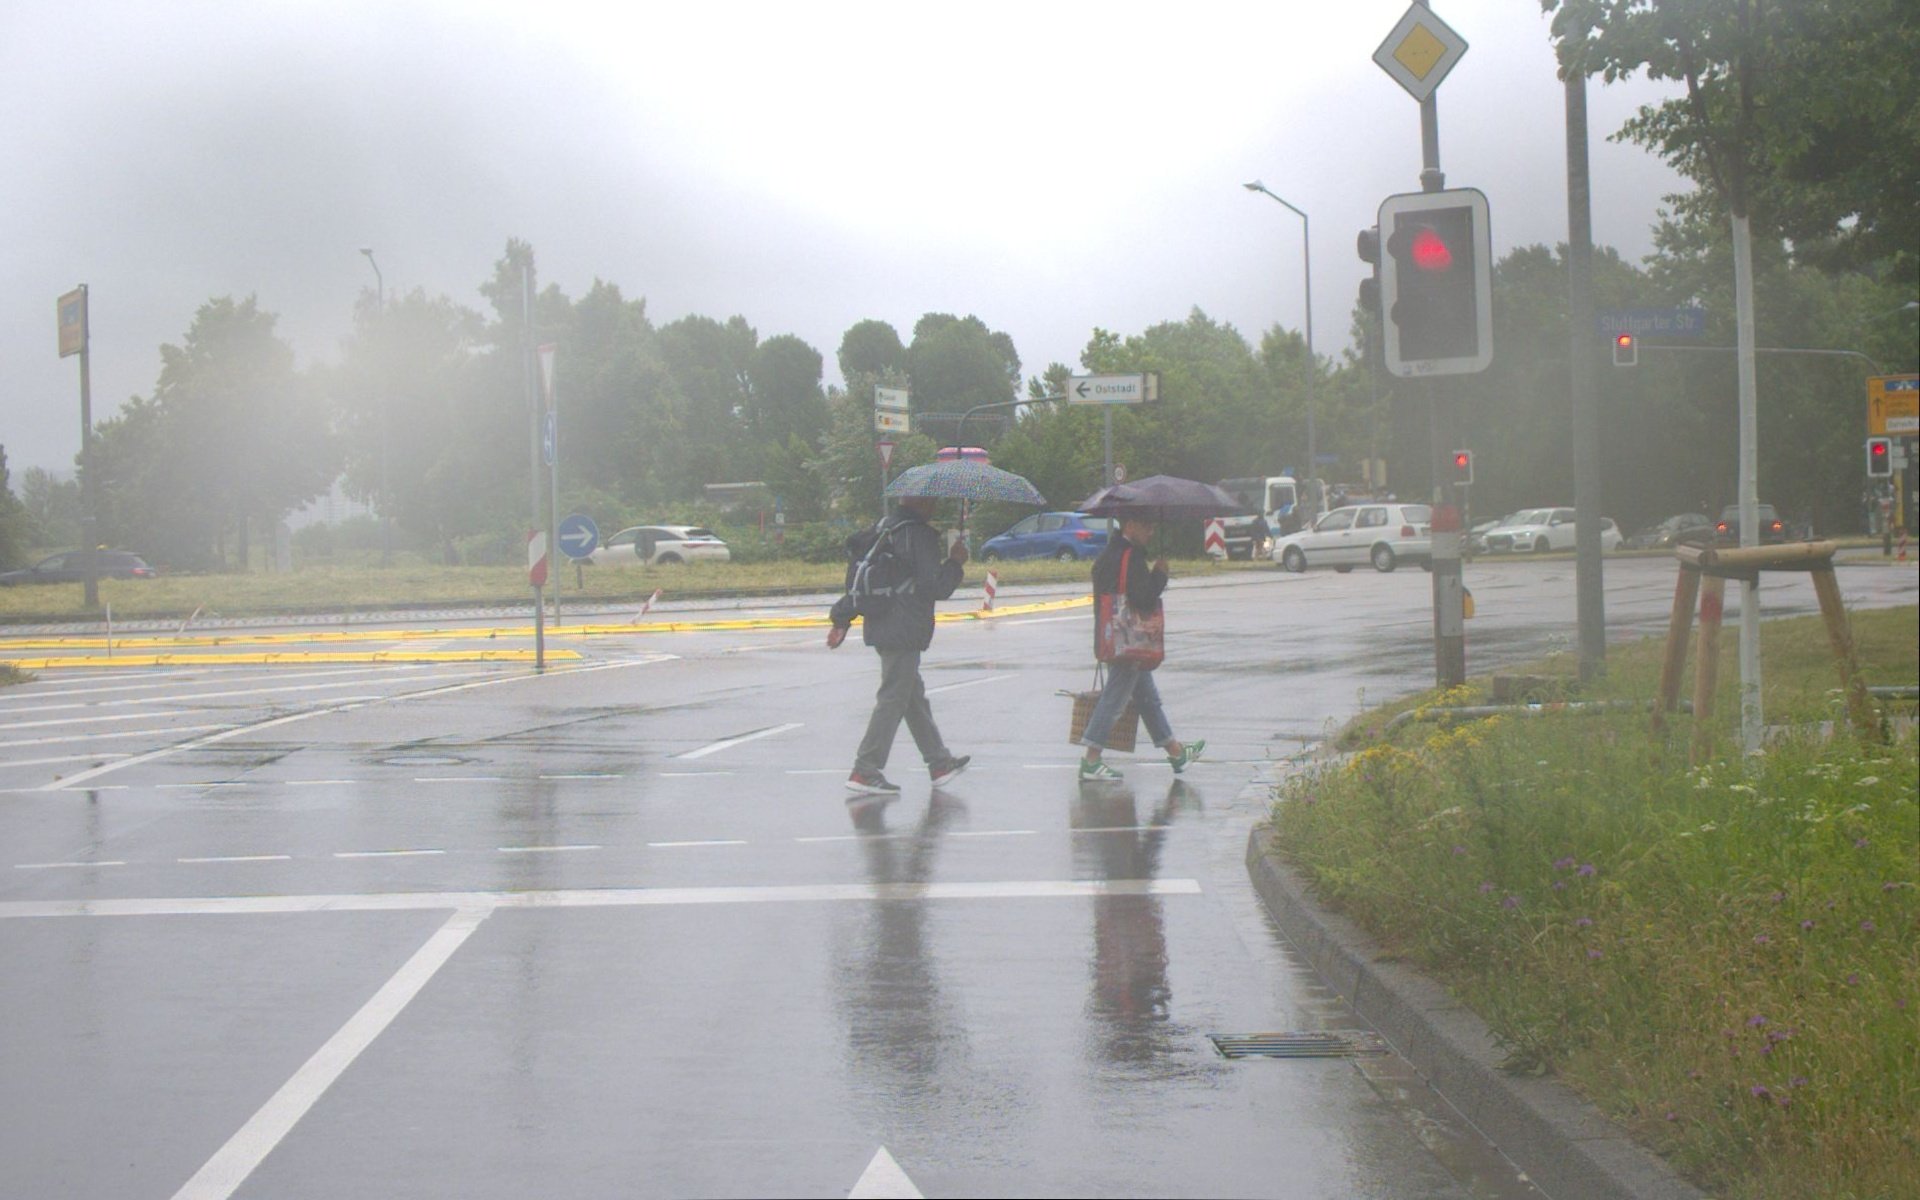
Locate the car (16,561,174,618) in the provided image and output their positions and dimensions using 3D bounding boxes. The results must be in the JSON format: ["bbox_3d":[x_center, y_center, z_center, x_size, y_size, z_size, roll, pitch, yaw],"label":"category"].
[{"bbox_3d":[-23.596,-0.299,93.865,3.974,1.449,1.624,-1,1,-6],"label":"car"}]

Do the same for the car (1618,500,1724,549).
[{"bbox_3d":[25.623,-2.727,123.837,1.800,1.656,4.399,0,2,41],"label":"car"}]

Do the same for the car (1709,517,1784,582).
[{"bbox_3d":[18.618,-1.211,81.488,1.619,1.449,3.986,-1,1,12],"label":"car"}]

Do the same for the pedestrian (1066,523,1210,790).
[{"bbox_3d":[0.996,0.311,19.360,0.680,1.456,0.573,-2,0,-5],"label":"pedestrian"}]

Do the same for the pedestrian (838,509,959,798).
[{"bbox_3d":[-0.338,0.275,18.444,0.621,1.517,0.741,1,1,-2],"label":"pedestrian"}]

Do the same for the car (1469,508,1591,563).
[{"bbox_3d":[18.166,-2.047,109.434,1.800,1.656,4.399,1,0,41],"label":"car"}]

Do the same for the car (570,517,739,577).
[{"bbox_3d":[-7.769,-1.352,87.274,4.107,1.449,1.620,0,2,33],"label":"car"}]

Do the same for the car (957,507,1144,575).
[{"bbox_3d":[2.020,-1.313,77.225,3.982,1.449,1.620,0,2,36],"label":"car"}]

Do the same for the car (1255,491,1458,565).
[{"bbox_3d":[8.231,-1.491,71.542,3.984,1.449,1.619,0,2,43],"label":"car"}]

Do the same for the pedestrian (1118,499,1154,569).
[{"bbox_3d":[3.323,-1.244,64.912,0.453,1.300,0.485,0,2,38],"label":"pedestrian"}]

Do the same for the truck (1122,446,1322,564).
[{"bbox_3d":[6.504,-2.275,84.122,2.464,2.677,8.050,1,0,22],"label":"truck"}]
